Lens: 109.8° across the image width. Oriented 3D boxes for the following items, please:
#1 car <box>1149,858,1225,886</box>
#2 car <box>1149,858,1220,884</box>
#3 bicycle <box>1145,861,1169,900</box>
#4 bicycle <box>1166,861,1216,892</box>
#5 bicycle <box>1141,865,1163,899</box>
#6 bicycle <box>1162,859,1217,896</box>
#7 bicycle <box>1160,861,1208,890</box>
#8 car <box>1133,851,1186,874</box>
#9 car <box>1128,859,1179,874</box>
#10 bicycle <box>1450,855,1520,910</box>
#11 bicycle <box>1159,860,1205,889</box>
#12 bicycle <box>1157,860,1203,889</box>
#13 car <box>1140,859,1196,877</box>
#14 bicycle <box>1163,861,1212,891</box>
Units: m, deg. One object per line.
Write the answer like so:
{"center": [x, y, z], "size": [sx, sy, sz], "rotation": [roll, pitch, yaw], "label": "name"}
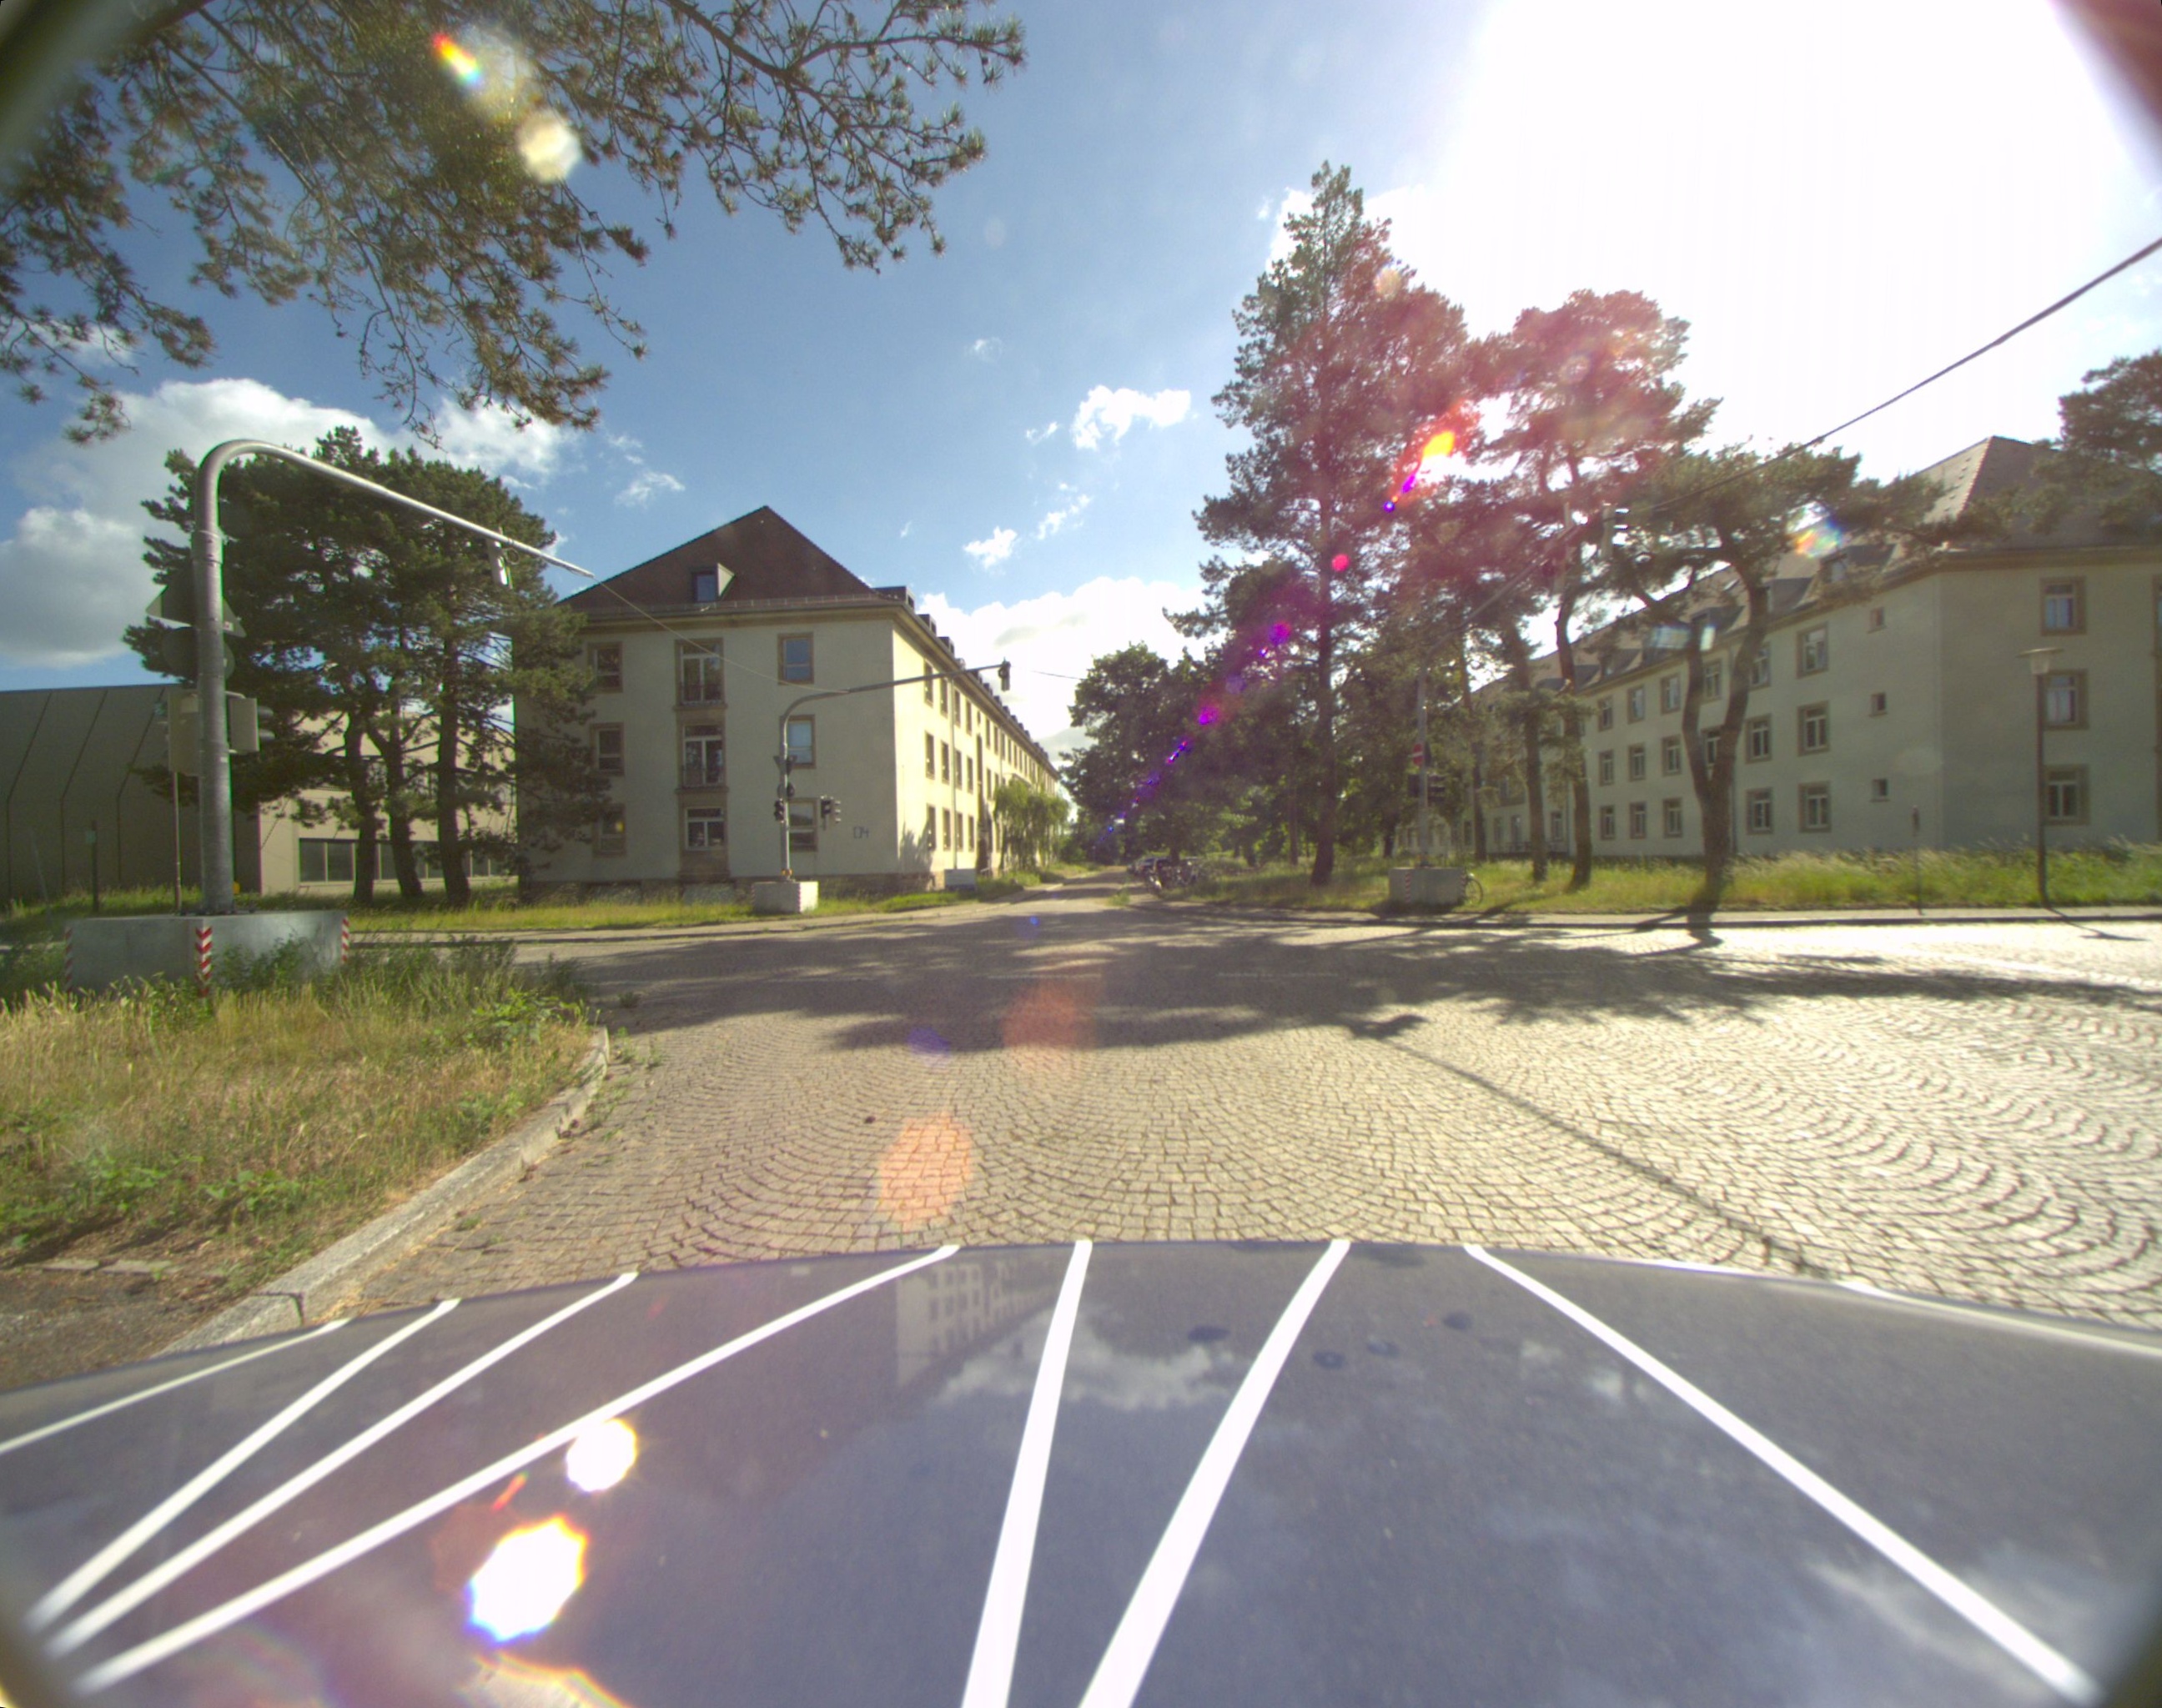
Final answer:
{"center": [6.053, 1.023, 43.712], "size": [4.043, 1.493, 1.817], "rotation": [-1, 0, -4], "label": "car"}
{"center": [6.308, 1.037, 46.728], "size": [4.043, 1.514, 1.817], "rotation": [-1, 1, -4], "label": "car"}
{"center": [2.873, 0.975, 28.722], "size": [0.621, 1.342, 2.115], "rotation": [-3, 0, 0], "label": "bicycle"}
{"center": [4.939, 1.005, 34.185], "size": [2.114, 1.276, 0.621], "rotation": [-3, 1, -2], "label": "bicycle"}
{"center": [2.877, 1.109, 30.905], "size": [0.621, 1.276, 2.115], "rotation": [-3, 0, 0], "label": "bicycle"}
{"center": [4.552, 0.987, 31.955], "size": [2.113, 1.276, 0.621], "rotation": [-6, 1, 1], "label": "bicycle"}
{"center": [4.871, 1.008, 35.867], "size": [2.113, 1.276, 0.621], "rotation": [-3, 1, 0], "label": "bicycle"}
{"center": [6.596, 0.714, 64.107], "size": [4.225, 1.903, 1.817], "rotation": [-1, 1, -6], "label": "car"}
{"center": [6.362, 1.084, 67.288], "size": [4.225, 1.294, 1.817], "rotation": [-1, 0, -6], "label": "car"}
{"center": [10.023, 0.677, 18.964], "size": [0.621, 1.276, 2.115], "rotation": [-4, 0, 3], "label": "bicycle"}
{"center": [4.885, 1.006, 36.772], "size": [2.113, 1.276, 0.621], "rotation": [-3, 1, 0], "label": "bicycle"}
{"center": [4.882, 1.010, 37.618], "size": [2.113, 1.276, 0.621], "rotation": [-3, 1, 0], "label": "bicycle"}
{"center": [6.645, 1.062, 58.472], "size": [4.043, 1.355, 1.817], "rotation": [-1, 0, -3], "label": "car"}
{"center": [4.882, 1.014, 35.020], "size": [2.113, 1.276, 0.621], "rotation": [-3, 1, -2], "label": "bicycle"}
